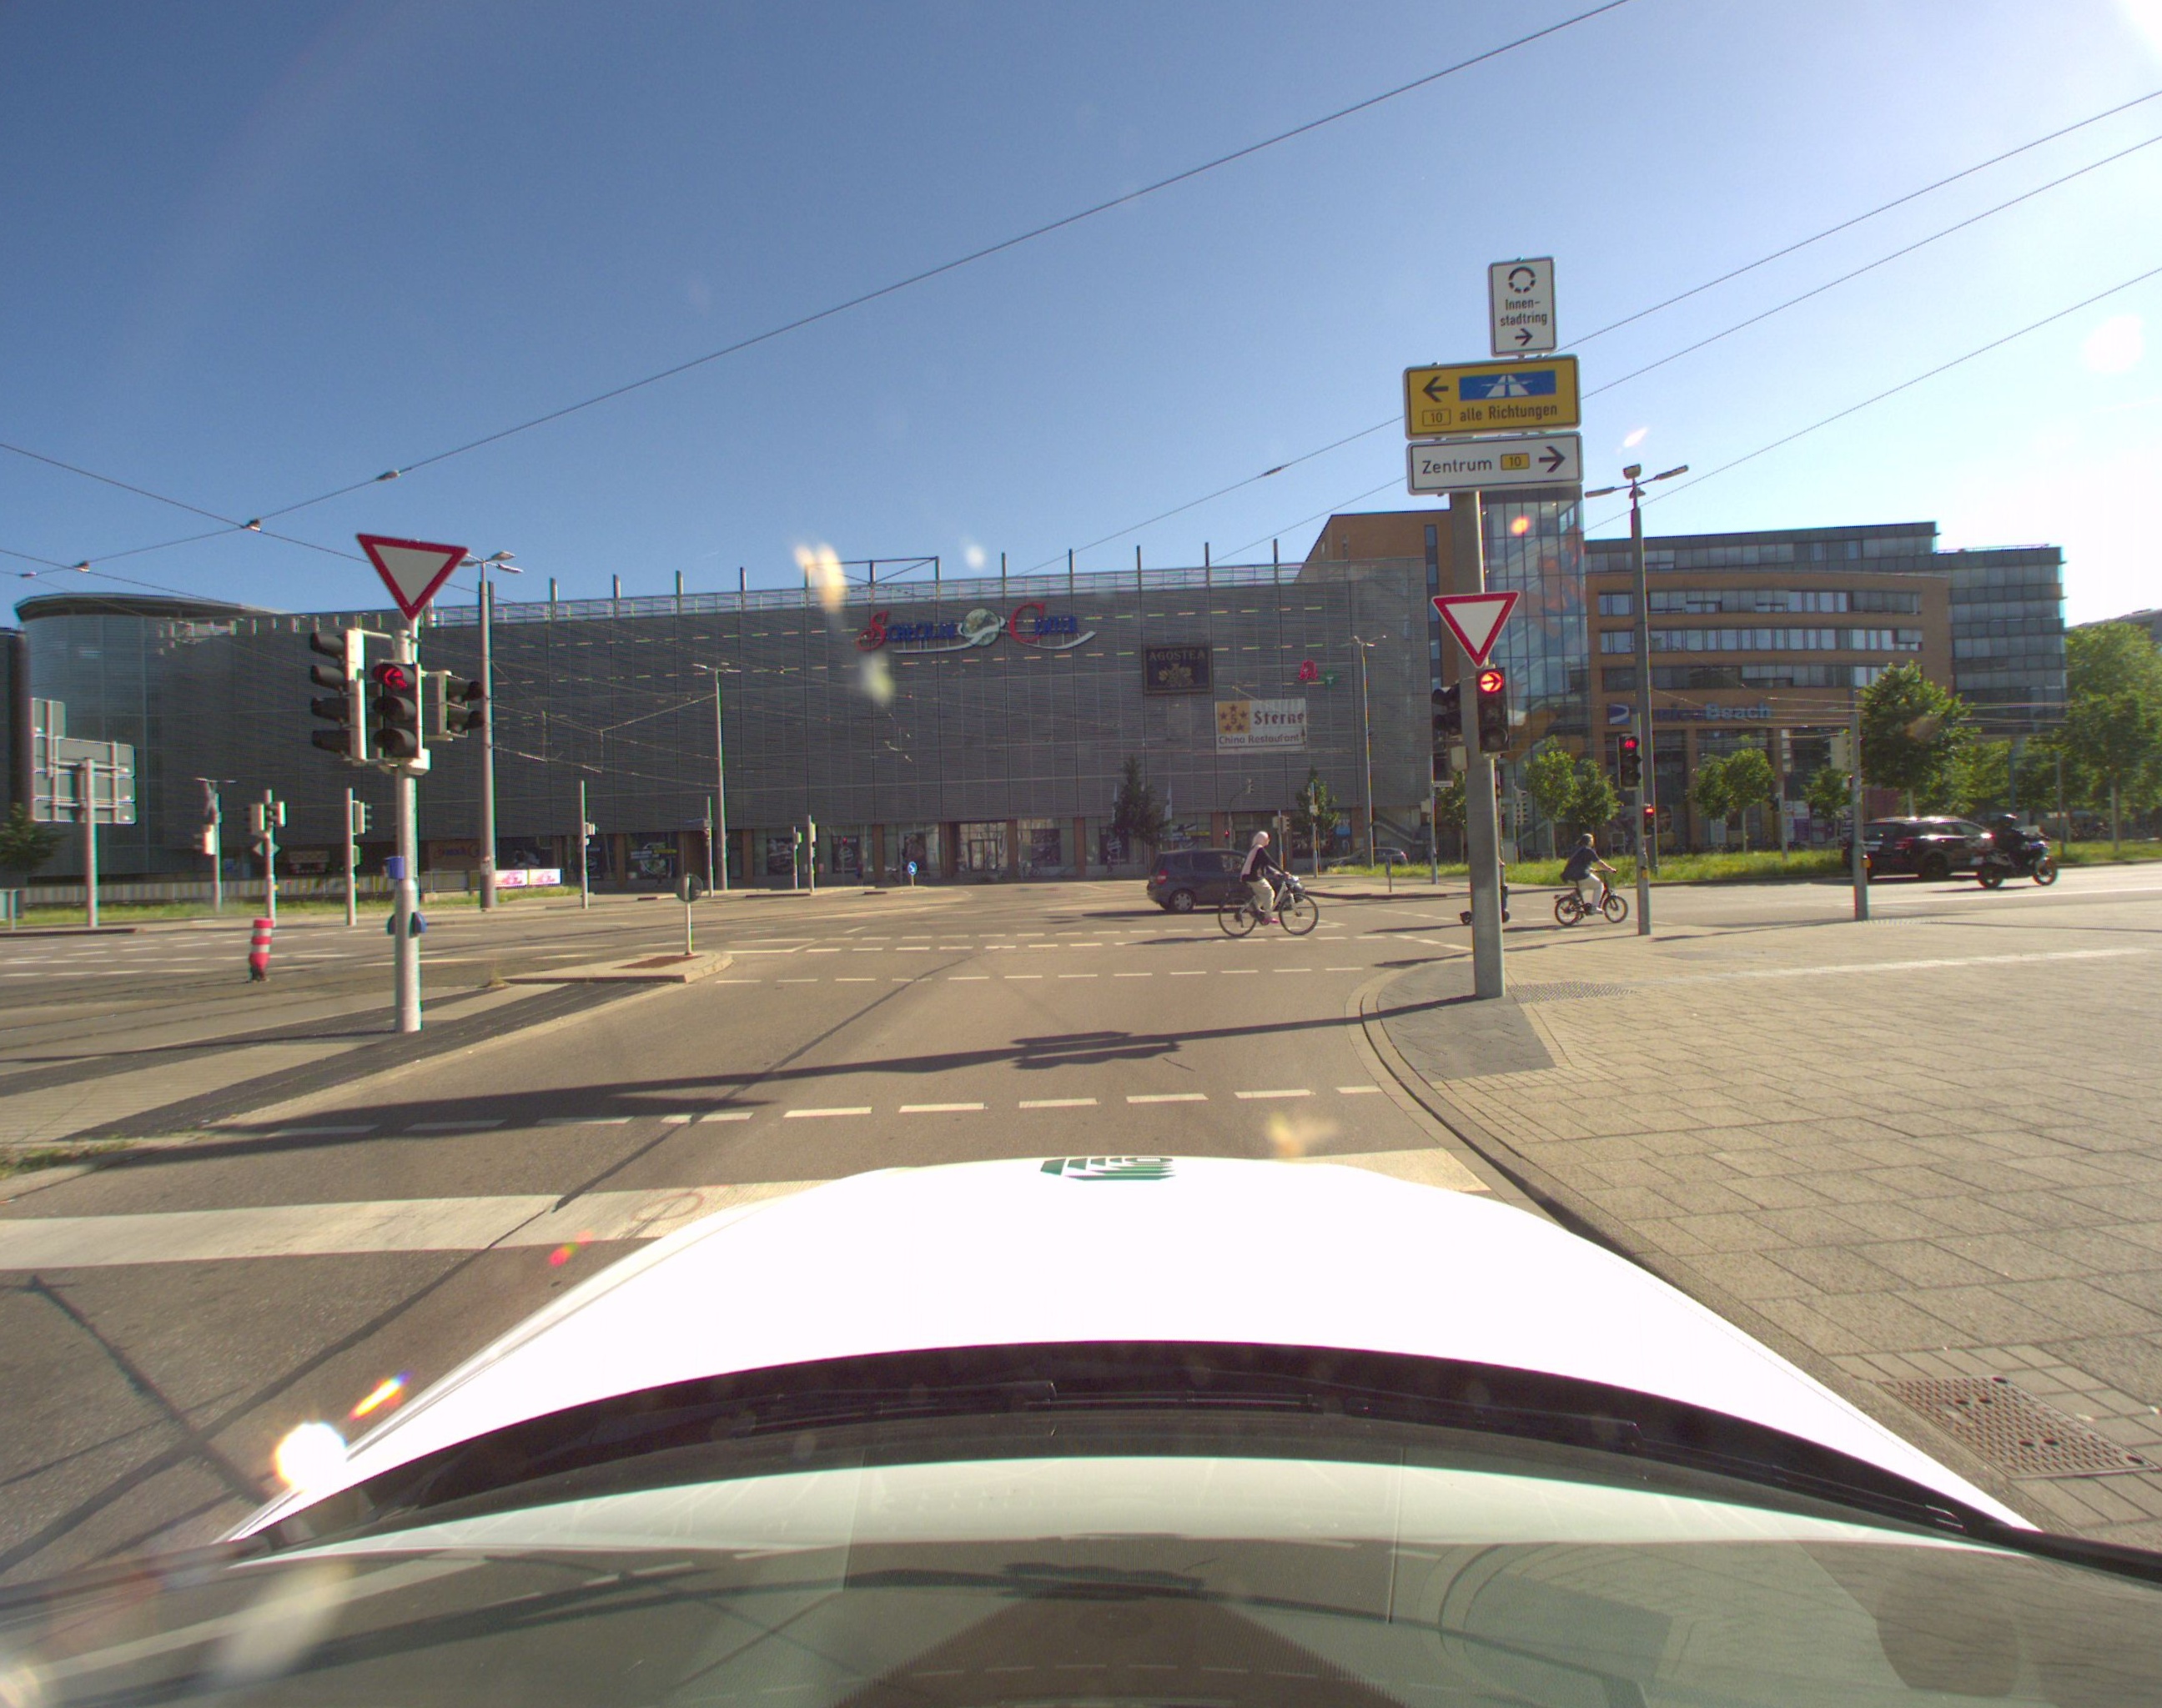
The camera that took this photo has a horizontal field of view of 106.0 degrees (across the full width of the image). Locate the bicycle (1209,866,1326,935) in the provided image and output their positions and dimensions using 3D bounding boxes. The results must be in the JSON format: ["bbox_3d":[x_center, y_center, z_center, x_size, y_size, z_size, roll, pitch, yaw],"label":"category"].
[{"bbox_3d":[3.235,0.795,14.212,1.897,1.137,0.580,-1,-1,-5],"label":"bicycle"}]

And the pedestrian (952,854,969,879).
[{"bbox_3d":[-8.998,0.941,60.618,0.945,1.828,0.848,-3,0,7],"label":"pedestrian"}]

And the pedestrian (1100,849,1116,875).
[{"bbox_3d":[1.969,0.607,59.465,1.007,1.828,1.037,-3,0,5],"label":"pedestrian"}]

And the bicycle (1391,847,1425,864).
[{"bbox_3d":[24.339,0.106,60.610,2.247,1.296,0.606,0,-1,0],"label":"bicycle"}]

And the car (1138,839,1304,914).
[{"bbox_3d":[3.348,0.511,19.852,3.683,1.646,1.644,-1,0,-5],"label":"car"}]

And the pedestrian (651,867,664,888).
[{"bbox_3d":[-33.294,1.822,64.020,0.654,1.601,0.597,-1,-1,20],"label":"pedestrian"}]

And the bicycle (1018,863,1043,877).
[{"bbox_3d":[-3.785,1.165,60.783,1.815,0.989,0.556,-2,1,-8],"label":"bicycle"}]

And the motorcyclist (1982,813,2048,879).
[{"bbox_3d":[22.375,-0.194,19.519,0.898,1.535,0.586,-1,-1,-4],"label":"motorcyclist"}]

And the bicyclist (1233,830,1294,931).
[{"bbox_3d":[3.174,0.455,14.201,0.881,1.707,0.573,0,-1,-5],"label":"bicyclist"}]

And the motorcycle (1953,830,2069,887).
[{"bbox_3d":[22.252,0.100,19.504,2.259,1.282,0.586,-1,-1,-5],"label":"motorcycle"}]

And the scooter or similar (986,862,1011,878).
[{"bbox_3d":[-6.187,1.194,61.224,1.790,1.066,0.611,-2,1,-6],"label":"scooter or similar"}]

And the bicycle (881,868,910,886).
[{"bbox_3d":[-12.589,1.576,55.303,0.562,1.086,1.874,-1,2,45],"label":"bicycle"}]

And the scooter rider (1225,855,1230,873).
[{"bbox_3d":[9.904,0.699,54.940,0.286,1.200,0.387,-1,-1,12],"label":"scooter rider"}]

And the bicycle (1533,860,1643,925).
[{"bbox_3d":[9.329,0.693,14.996,1.753,1.137,0.585,0,-1,-9],"label":"bicycle"}]

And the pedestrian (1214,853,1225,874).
[{"bbox_3d":[9.401,0.624,55.194,0.650,1.414,0.853,-1,-1,12],"label":"pedestrian"}]

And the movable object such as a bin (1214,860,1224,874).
[{"bbox_3d":[9.268,0.875,54.731,0.608,0.904,0.972,-1,-1,12],"label":"movable object such as a bin"}]

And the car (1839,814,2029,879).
[{"bbox_3d":[23.809,-0.224,22.779,4.186,1.646,1.641,-2,0,-11],"label":"car"}]

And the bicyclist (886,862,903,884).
[{"bbox_3d":[-12.632,1.265,55.230,0.667,1.427,0.855,-1,2,45],"label":"bicyclist"}]

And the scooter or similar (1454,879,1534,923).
[{"bbox_3d":[7.819,0.885,15.434,1.208,0.786,0.613,0,-1,-9],"label":"scooter or similar"}]

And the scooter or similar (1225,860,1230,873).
[{"bbox_3d":[9.916,0.863,54.999,0.293,0.873,1.007,-1,-1,12],"label":"scooter or similar"}]

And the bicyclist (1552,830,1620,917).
[{"bbox_3d":[9.295,0.353,15.009,0.882,1.566,0.572,0,-1,-8],"label":"bicyclist"}]

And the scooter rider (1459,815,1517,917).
[{"bbox_3d":[7.701,0.222,15.423,0.783,1.872,0.572,0,-1,-8],"label":"scooter rider"}]

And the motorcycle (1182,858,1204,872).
[{"bbox_3d":[8.309,0.823,60.587,1.630,1.004,0.448,0,0,8],"label":"motorcycle"}]

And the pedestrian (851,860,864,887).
[{"bbox_3d":[-15.206,1.301,55.455,0.695,1.797,0.727,-3,0,-14],"label":"pedestrian"}]

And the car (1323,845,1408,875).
[{"bbox_3d":[15.879,0.344,45.611,4.132,1.470,1.841,2,-1,0],"label":"car"}]
